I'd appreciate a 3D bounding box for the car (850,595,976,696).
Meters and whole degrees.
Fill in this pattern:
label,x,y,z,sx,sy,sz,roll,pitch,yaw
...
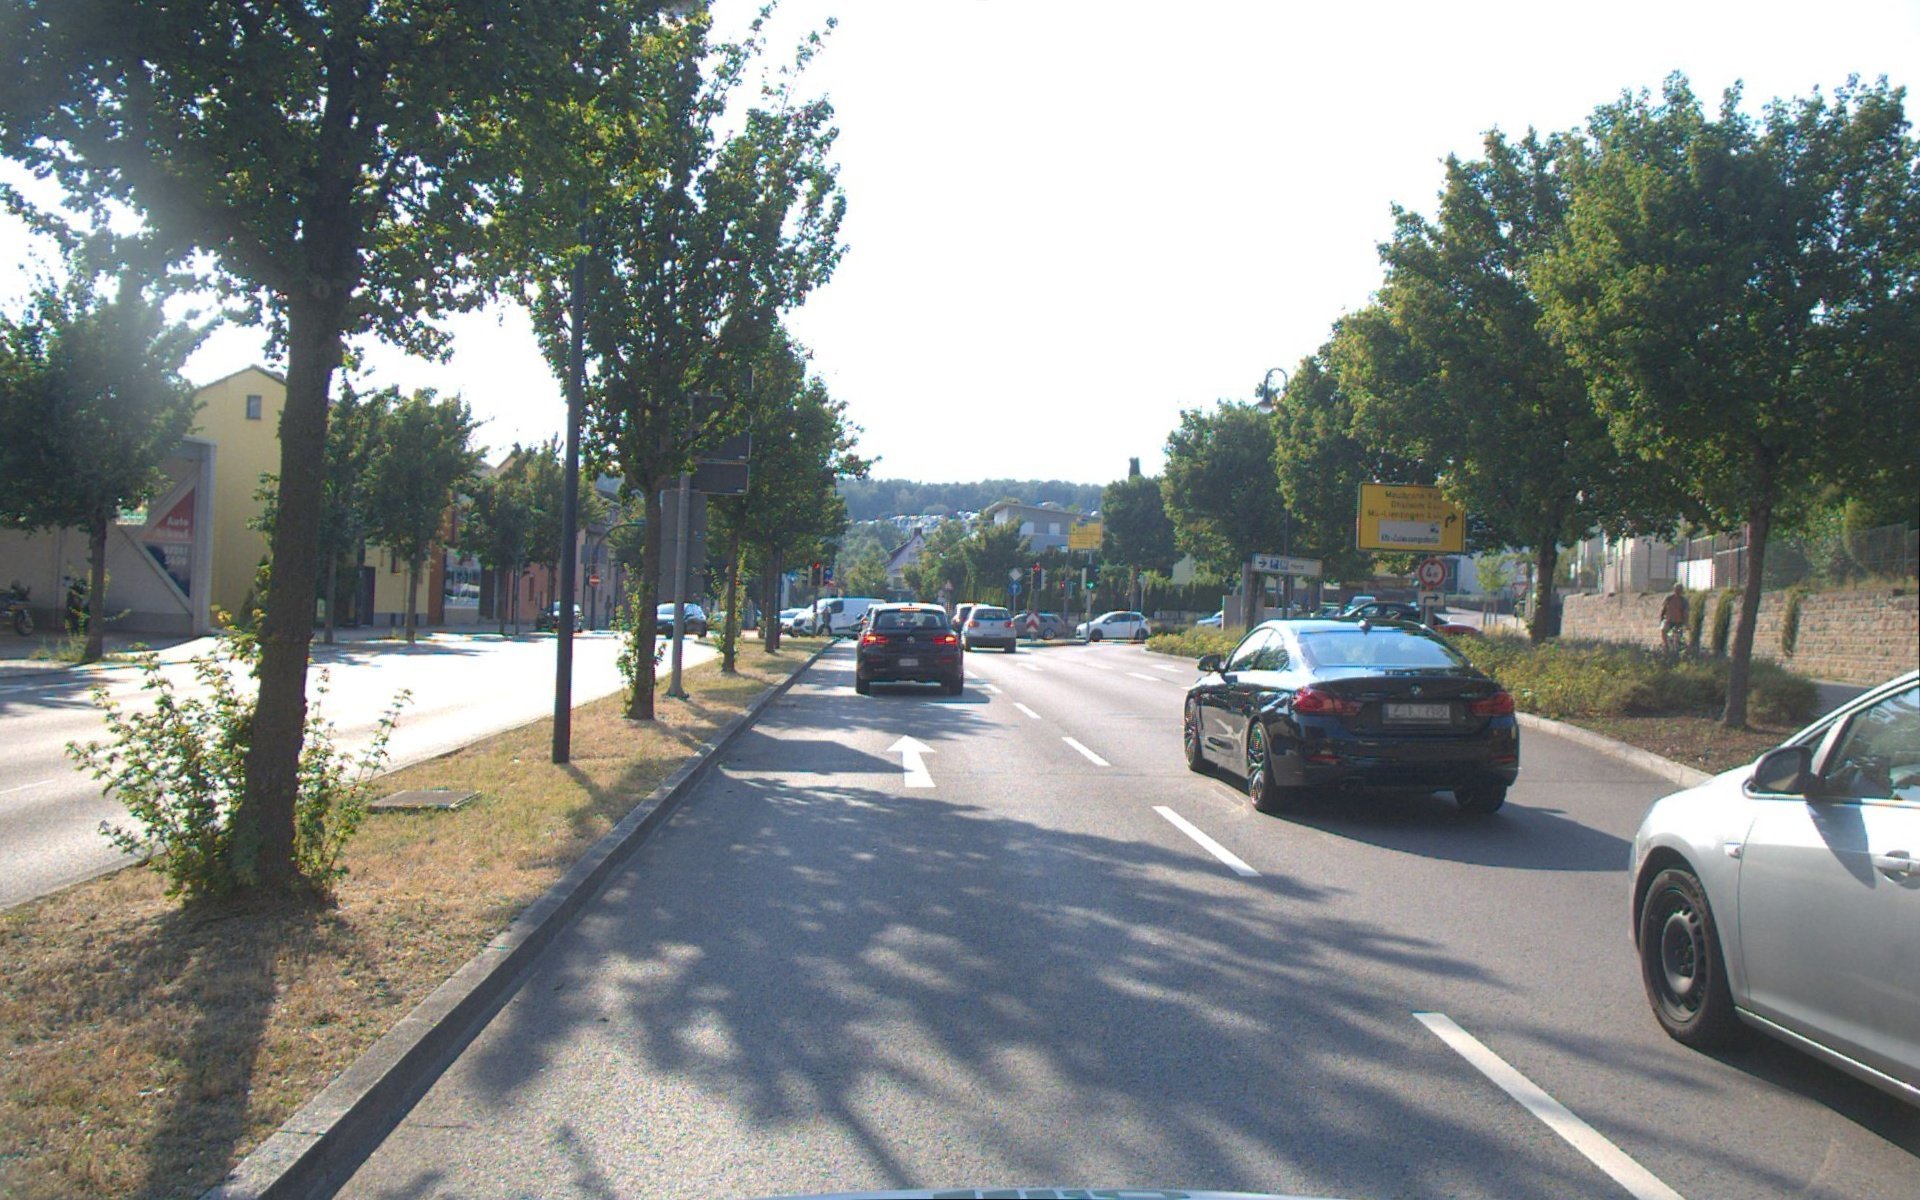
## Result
label,x,y,z,sx,sy,sz,roll,pitch,yaw
car,-0.713,0.699,27.888,1.685,1.516,4.355,1,0,4

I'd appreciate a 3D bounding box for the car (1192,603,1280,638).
label,x,y,z,sx,sy,sz,roll,pitch,yaw
car,15.601,1.158,93.492,4.541,1.861,1.998,1,0,-6

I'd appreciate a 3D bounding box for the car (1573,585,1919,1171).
label,x,y,z,sx,sy,sz,roll,pitch,yaw
car,3.346,0.733,4.478,1.686,1.516,4.305,0,1,-1

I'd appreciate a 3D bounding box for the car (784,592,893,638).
label,x,y,z,sx,sy,sz,roll,pitch,yaw
car,-5.952,0.753,81.339,5.071,2.167,2.118,1,0,-38

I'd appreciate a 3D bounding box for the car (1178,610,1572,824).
label,x,y,z,sx,sy,sz,roll,pitch,yaw
car,3.049,0.795,13.157,1.882,1.388,4.350,1,0,-2

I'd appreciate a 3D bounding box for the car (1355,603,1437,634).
label,x,y,z,sx,sy,sz,roll,pitch,yaw
car,27.215,1.152,103.238,4.541,1.861,1.998,1,0,-6

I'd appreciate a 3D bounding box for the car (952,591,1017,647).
label,x,y,z,sx,sy,sz,roll,pitch,yaw
car,0.785,0.616,56.117,1.887,1.800,4.451,1,0,-3

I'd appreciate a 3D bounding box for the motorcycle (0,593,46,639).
label,x,y,z,sx,sy,sz,roll,pitch,yaw
motorcycle,-22.712,0.374,39.137,0.506,1.088,1.865,1,0,32

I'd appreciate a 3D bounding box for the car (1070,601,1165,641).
label,x,y,z,sx,sy,sz,roll,pitch,yaw
car,8.161,1.098,85.999,4.459,1.963,2.138,1,0,-15

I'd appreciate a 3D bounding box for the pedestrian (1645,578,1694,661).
label,x,y,z,sx,sy,sz,roll,pitch,yaw
pedestrian,15.071,0.399,35.145,0.681,1.732,0.950,1,0,5

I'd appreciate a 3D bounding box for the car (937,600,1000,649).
label,x,y,z,sx,sy,sz,roll,pitch,yaw
car,0.295,0.933,65.221,2.173,1.800,4.451,1,0,-3

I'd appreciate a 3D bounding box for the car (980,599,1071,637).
label,x,y,z,sx,sy,sz,roll,pitch,yaw
car,3.597,0.981,91.154,4.847,1.963,2.146,1,0,-2

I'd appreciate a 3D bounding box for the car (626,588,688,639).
label,x,y,z,sx,sy,sz,roll,pitch,yaw
car,-12.680,0.535,69.488,2.098,2.044,5.119,1,0,-6

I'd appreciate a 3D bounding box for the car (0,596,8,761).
label,x,y,z,sx,sy,sz,roll,pitch,yaw
car,-8.857,0.661,11.721,1.720,1.385,4.483,1,0,-2

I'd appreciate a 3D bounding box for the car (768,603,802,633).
label,x,y,z,sx,sy,sz,roll,pitch,yaw
car,-10.525,1.057,99.570,1.695,1.708,3.999,1,0,-2

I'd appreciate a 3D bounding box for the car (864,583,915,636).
label,x,y,z,sx,sy,sz,roll,pitch,yaw
car,-2.550,0.326,59.044,1.721,1.800,3.968,1,0,-3
